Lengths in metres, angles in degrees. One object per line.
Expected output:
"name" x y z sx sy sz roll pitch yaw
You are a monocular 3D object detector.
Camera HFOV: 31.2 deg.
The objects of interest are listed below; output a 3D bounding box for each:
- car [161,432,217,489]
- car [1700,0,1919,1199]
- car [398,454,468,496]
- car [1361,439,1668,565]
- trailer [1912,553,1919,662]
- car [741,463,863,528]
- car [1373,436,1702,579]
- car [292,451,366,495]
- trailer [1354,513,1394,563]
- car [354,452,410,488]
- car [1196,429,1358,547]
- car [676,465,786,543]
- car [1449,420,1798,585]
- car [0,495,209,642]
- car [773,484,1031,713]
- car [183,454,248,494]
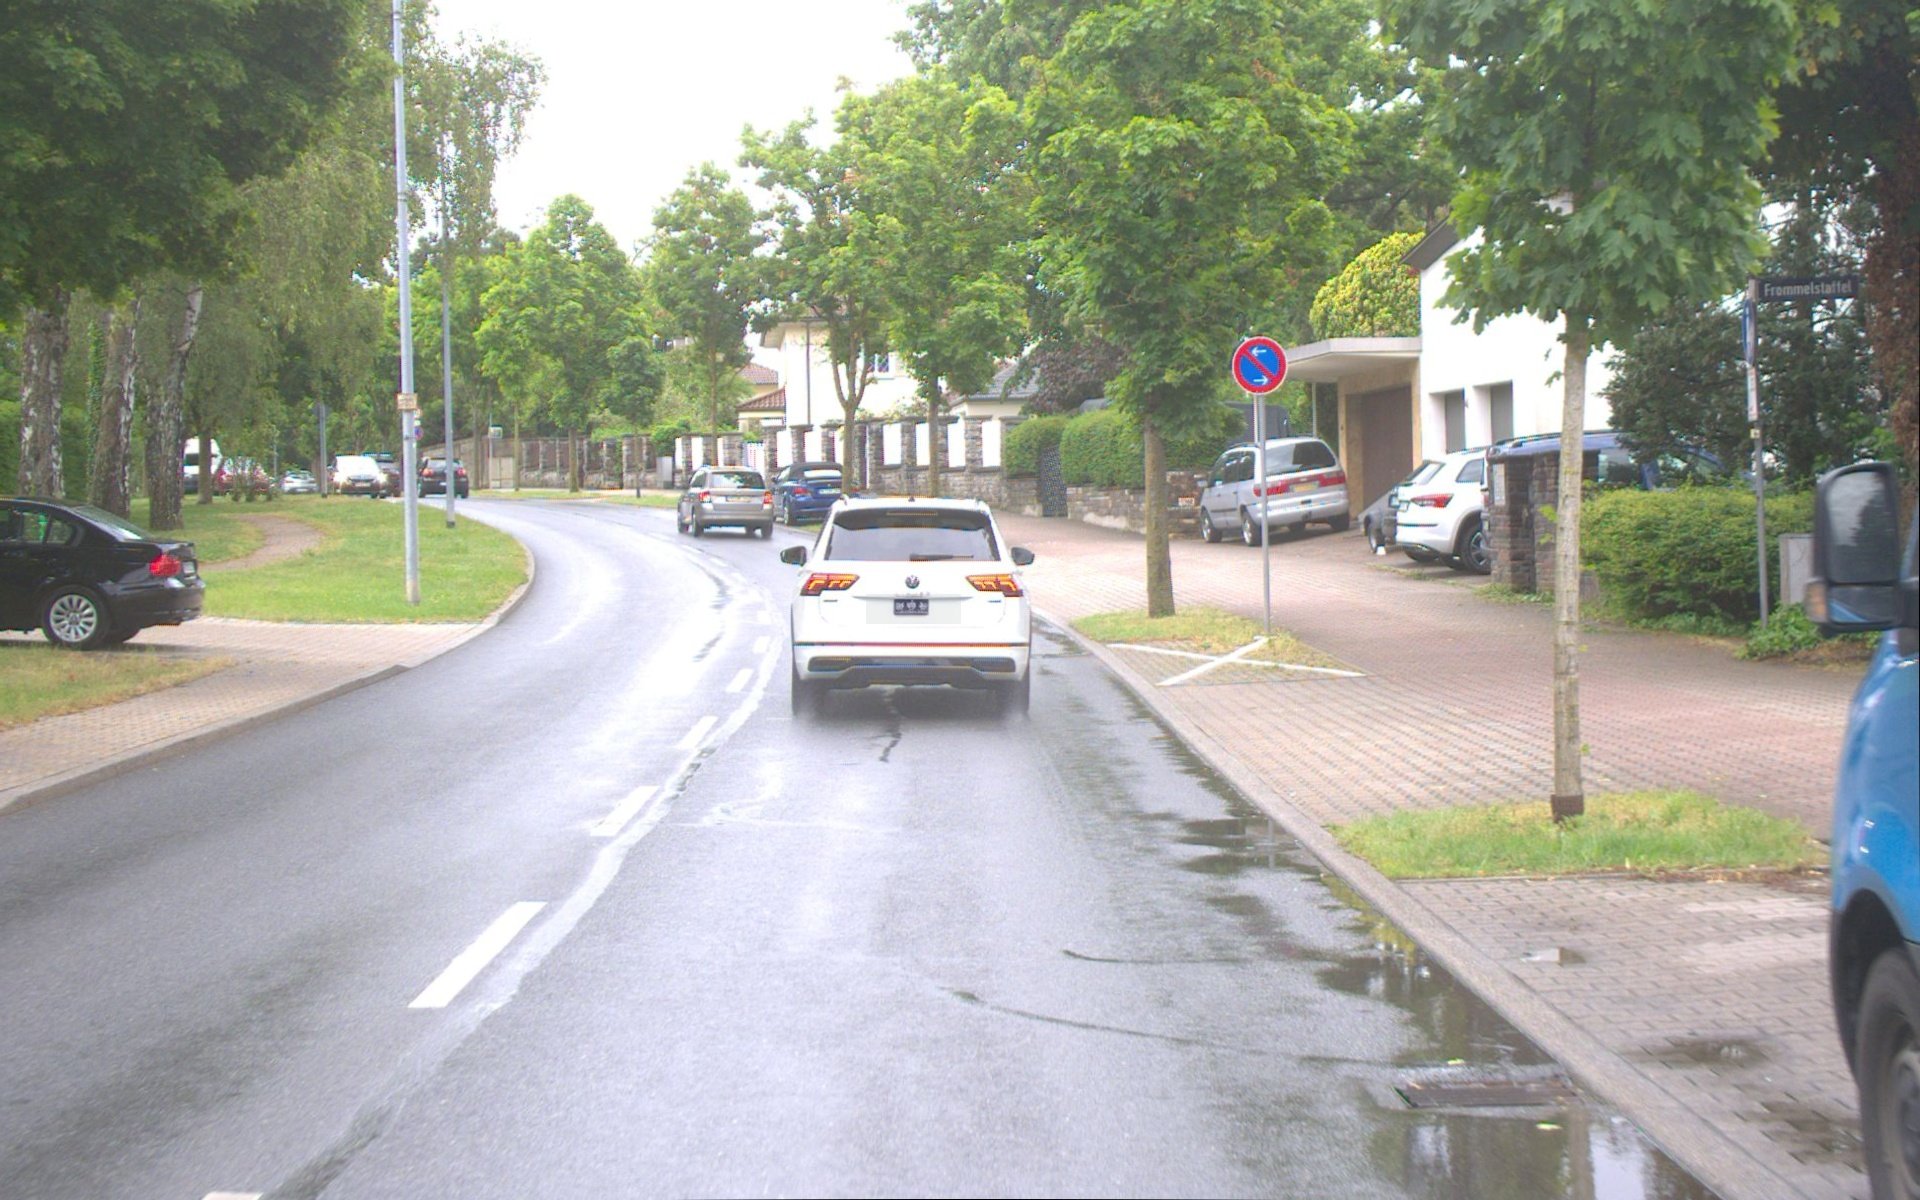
"car" -32.549 -5.889 145.049 1.766 2.378 4.002 0 2 -21
"car" 2.697 0.022 4.552 1.993 2.578 5.634 -3 1 -1
"car" -18.742 -4.447 122.090 1.642 1.422 4.002 0 2 -21
"car" 7.904 -1.421 49.243 3.986 1.702 1.830 1 3 -5
"trailer" 8.773 0.079 27.354 2.042 0.880 1.364 1 1 2
"car" -3.633 -2.404 78.465 1.642 1.422 4.002 0 2 -20
"car" 7.723 -1.260 46.207 3.986 1.805 1.830 1 3 -5
"car" -21.309 -4.290 116.045 1.766 1.422 4.002 0 2 -21
"trailer" 6.293 -0.943 52.290 0.418 0.754 1.367 1 1 0
"car" -23.415 -5.285 139.235 1.642 1.422 4.002 0 2 -18
"car" 5.484 -1.986 59.940 1.823 1.698 4.002 -9 4 -6
"car" -4.878 -2.006 72.670 1.768 1.546 4.001 -1 1 -12
"car" 8.432 -1.260 43.929 3.986 2.006 1.830 1 3 -5
"car" -9.560 -0.330 33.159 4.219 1.358 1.690 1 1 4
"car" -0.454 -0.061 27.204 1.865 1.645 4.000 -1 1 -1
"car" -27.505 -4.667 126.938 1.766 1.422 4.002 0 2 -21
